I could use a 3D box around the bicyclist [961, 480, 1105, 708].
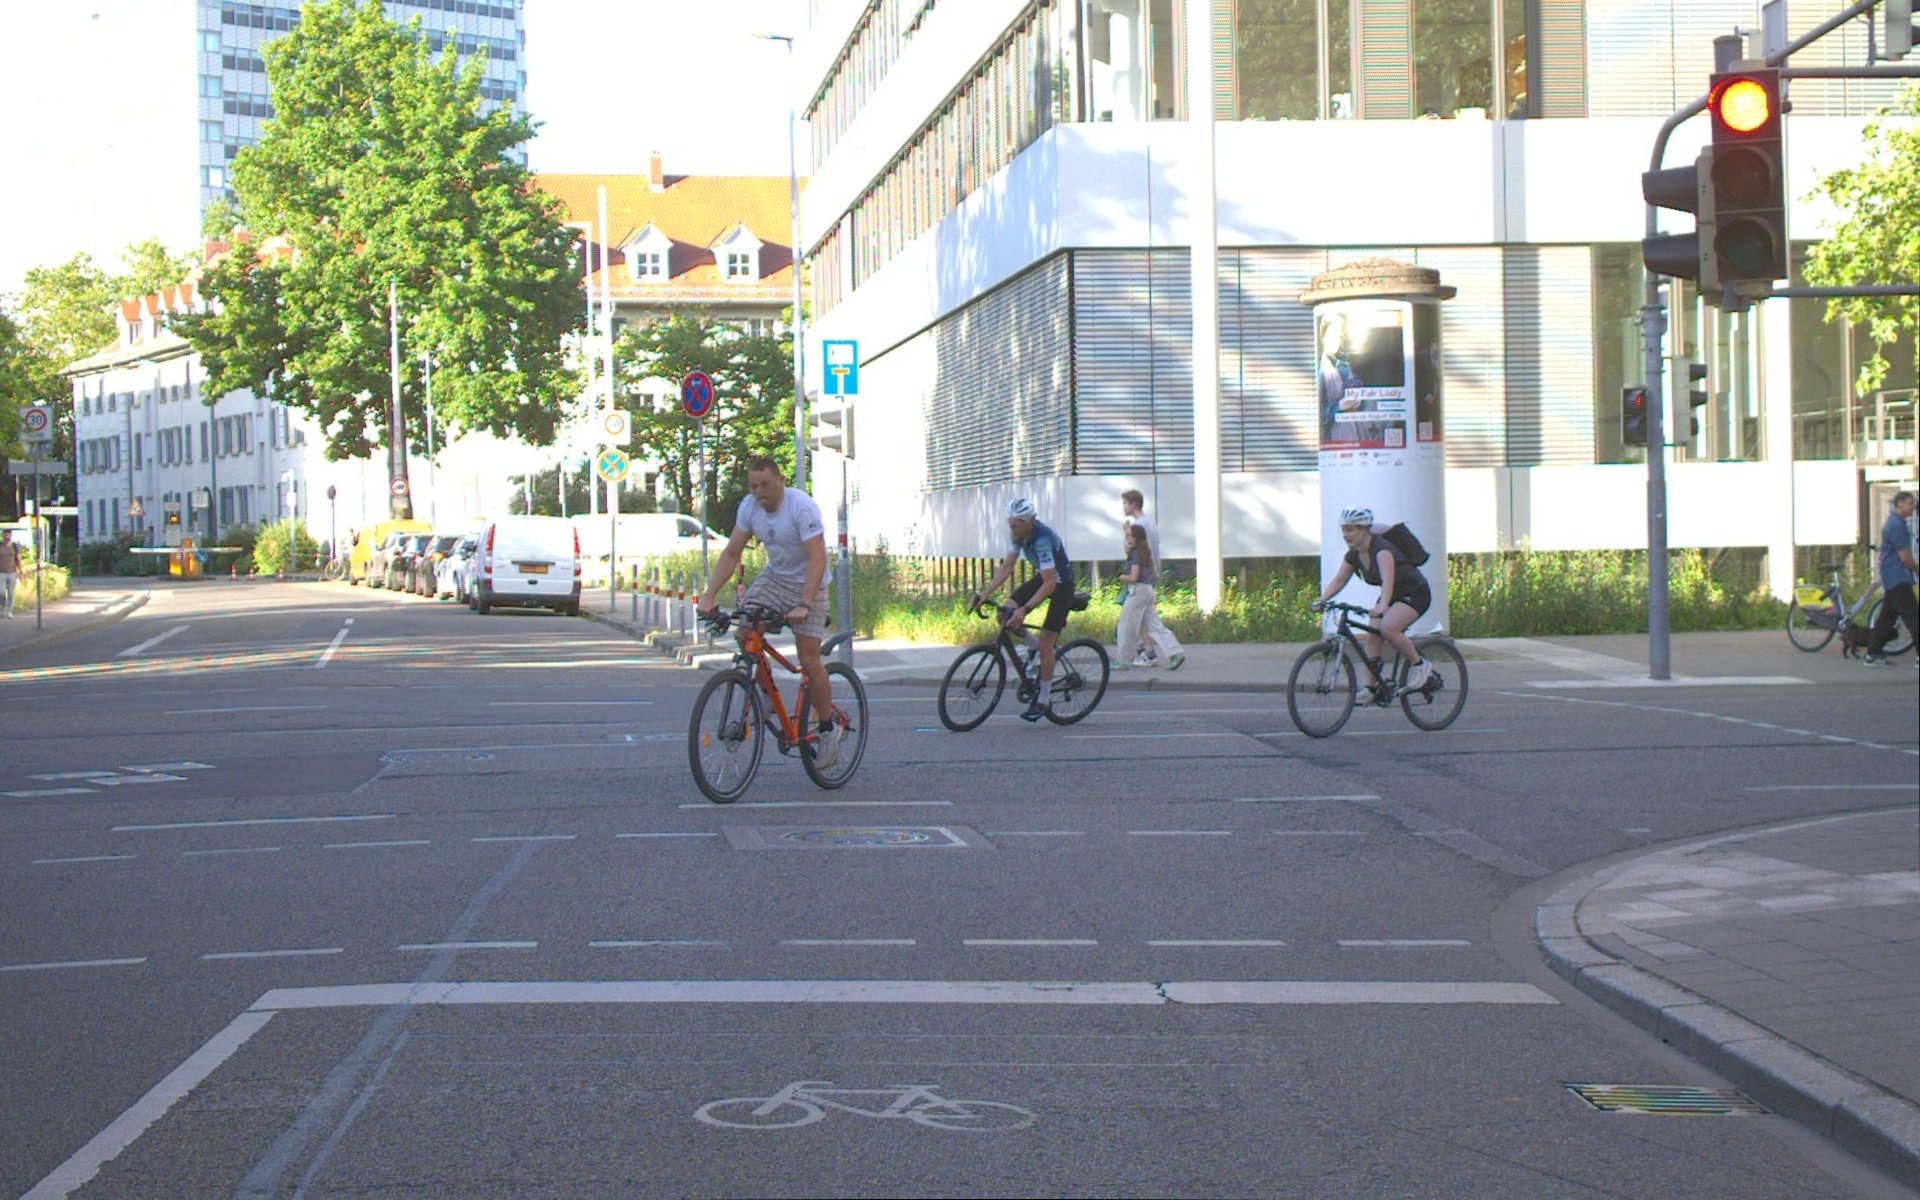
[{"bbox_3d":[0.531,-0.054,24.938,0.824,1.623,0.627,-2,2,-43],"label":"bicyclist"}]

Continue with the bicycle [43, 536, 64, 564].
[{"bbox_3d":[-37.685,-2.078,142.877,0.615,1.148,1.970,-1,1,-21],"label":"bicycle"}]

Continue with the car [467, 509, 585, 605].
[{"bbox_3d":[-8.221,-0.815,64.837,1.993,1.719,4.653,1,1,-10],"label":"car"}]

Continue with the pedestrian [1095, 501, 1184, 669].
[{"bbox_3d":[1.867,-0.158,35.738,0.765,1.713,0.647,1,0,18],"label":"pedestrian"}]

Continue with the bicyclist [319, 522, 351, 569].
[{"bbox_3d":[-18.795,-1.642,103.382,0.591,1.392,0.746,0,1,32],"label":"bicyclist"}]

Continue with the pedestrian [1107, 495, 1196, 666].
[{"bbox_3d":[2.037,-0.212,36.561,0.765,1.789,0.647,1,0,19],"label":"pedestrian"}]

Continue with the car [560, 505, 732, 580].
[{"bbox_3d":[-9.402,-1.704,102.945,4.791,2.151,2.001,1,0,-17],"label":"car"}]

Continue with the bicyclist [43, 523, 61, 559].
[{"bbox_3d":[-37.740,-2.450,142.877,0.615,1.467,0.741,-1,1,-20],"label":"bicyclist"}]

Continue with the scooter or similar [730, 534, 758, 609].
[{"bbox_3d":[-3.661,-0.489,58.306,0.437,1.252,1.420,-1,1,-4],"label":"scooter or similar"}]

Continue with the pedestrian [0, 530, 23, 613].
[{"bbox_3d":[-18.328,-0.550,65.857,0.699,1.581,0.637,1,0,-16],"label":"pedestrian"}]

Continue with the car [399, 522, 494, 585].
[{"bbox_3d":[-12.880,-1.165,85.993,1.993,1.493,4.653,1,1,-13],"label":"car"}]

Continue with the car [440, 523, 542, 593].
[{"bbox_3d":[-10.506,-0.935,76.822,1.993,1.493,4.653,1,1,-11],"label":"car"}]

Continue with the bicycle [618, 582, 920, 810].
[{"bbox_3d":[-1.030,0.501,19.062,0.627,1.148,1.966,0,1,32],"label":"bicycle"}]

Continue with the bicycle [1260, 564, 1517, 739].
[{"bbox_3d":[3.013,0.343,24.090,1.778,1.148,0.627,-2,1,-32],"label":"bicycle"}]

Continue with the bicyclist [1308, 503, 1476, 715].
[{"bbox_3d":[3.024,0.052,24.077,0.971,1.441,0.627,-2,1,-32],"label":"bicyclist"}]

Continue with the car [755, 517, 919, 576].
[{"bbox_3d":[-3.754,-1.630,104.789,4.635,1.719,2.001,1,0,-16],"label":"car"}]

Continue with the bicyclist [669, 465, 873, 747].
[{"bbox_3d":[-1.042,0.020,19.063,0.703,1.517,0.917,0,1,32],"label":"bicyclist"}]

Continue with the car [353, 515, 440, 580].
[{"bbox_3d":[-15.738,-1.454,95.849,1.993,1.719,4.653,1,1,-14],"label":"car"}]

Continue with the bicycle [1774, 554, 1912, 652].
[{"bbox_3d":[9.281,0.026,36.162,0.378,1.005,1.432,-2,2,-42],"label":"bicycle"}]

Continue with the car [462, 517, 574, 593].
[{"bbox_3d":[-9.172,-0.934,71.050,1.993,1.493,4.653,1,1,-11],"label":"car"}]

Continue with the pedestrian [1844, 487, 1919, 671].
[{"bbox_3d":[9.404,-0.210,34.285,0.916,1.809,0.761,1,0,33],"label":"pedestrian"}]

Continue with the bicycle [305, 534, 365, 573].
[{"bbox_3d":[-18.785,-1.408,103.403,0.591,1.148,1.966,0,1,32],"label":"bicycle"}]

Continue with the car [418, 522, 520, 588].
[{"bbox_3d":[-11.627,-1.061,81.269,1.993,1.493,4.288,1,1,-13],"label":"car"}]

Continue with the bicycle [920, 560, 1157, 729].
[{"bbox_3d":[0.584,0.305,24.993,1.779,1.148,0.627,-2,2,-43],"label":"bicycle"}]
